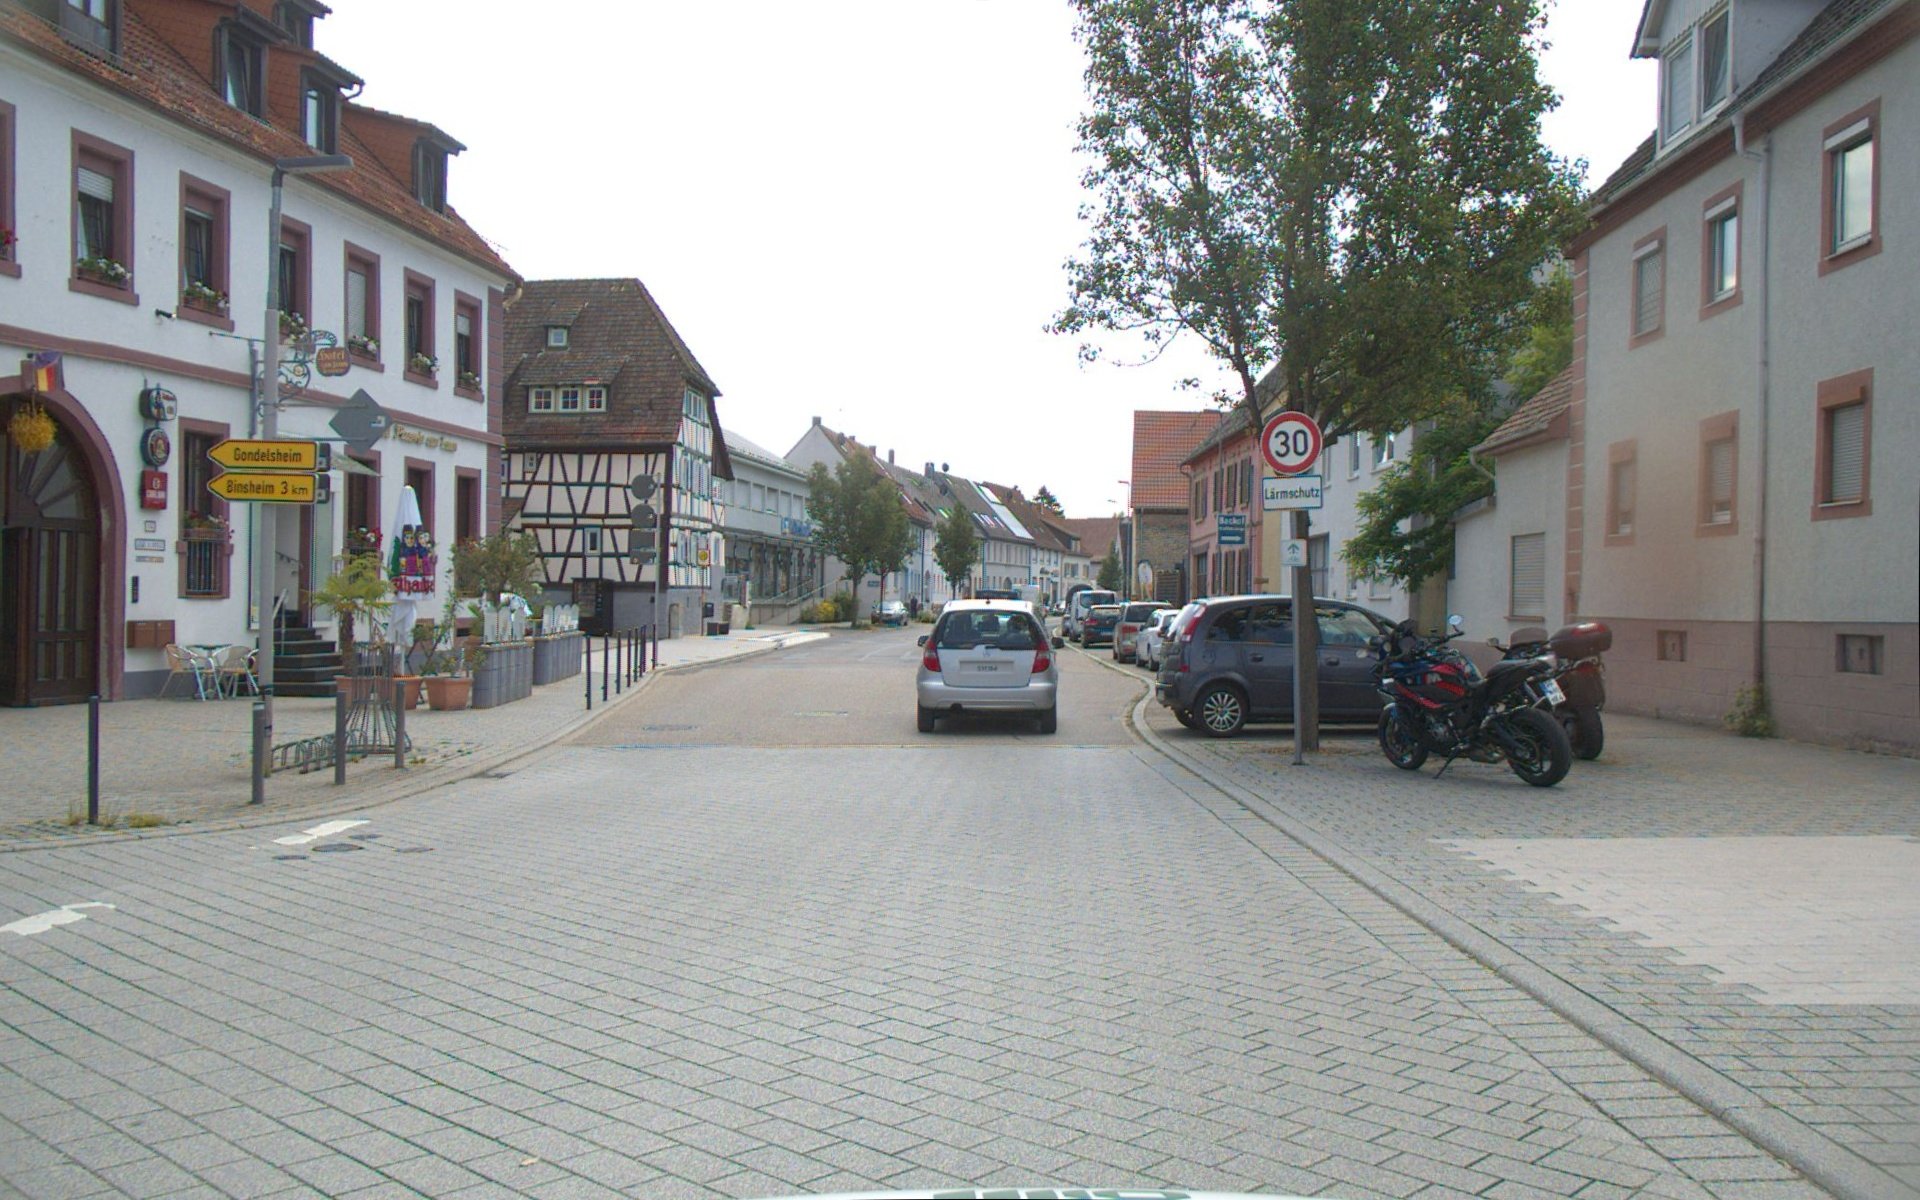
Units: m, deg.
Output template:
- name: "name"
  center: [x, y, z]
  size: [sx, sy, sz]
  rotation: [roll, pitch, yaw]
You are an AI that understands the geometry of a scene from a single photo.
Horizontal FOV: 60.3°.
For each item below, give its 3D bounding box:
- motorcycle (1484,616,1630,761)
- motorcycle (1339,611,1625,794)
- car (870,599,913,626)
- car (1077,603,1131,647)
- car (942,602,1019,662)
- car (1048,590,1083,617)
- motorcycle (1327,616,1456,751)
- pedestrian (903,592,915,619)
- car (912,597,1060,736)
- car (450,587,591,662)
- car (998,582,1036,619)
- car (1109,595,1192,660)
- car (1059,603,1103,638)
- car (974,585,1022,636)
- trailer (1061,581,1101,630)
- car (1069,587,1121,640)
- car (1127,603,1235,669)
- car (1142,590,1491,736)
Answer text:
- name: "motorcycle"
  center: [5.887, 0.834, 16.450]
  size: [0.939, 1.321, 2.227]
  rotation: [-1, 0, 9]
- name: "motorcycle"
  center: [4.404, 0.815, 14.083]
  size: [0.866, 1.419, 2.188]
  rotation: [1, 0, -45]
- name: "car"
  center: [-3.922, 0.699, 95.224]
  size: [1.766, 1.486, 4.161]
  rotation: [1, 0, 7]
- name: "car"
  center: [5.149, 0.862, 59.512]
  size: [1.738, 1.521, 4.163]
  rotation: [0, 0, 2]
- name: "car"
  center: [0.556, 0.804, 43.354]
  size: [1.905, 1.432, 4.001]
  rotation: [1, 0, 1]
- name: "car"
  center: [6.430, 0.216, 101.186]
  size: [1.952, 1.586, 4.001]
  rotation: [-1, 0, 1]
- name: "motorcycle"
  center: [4.487, 0.834, 17.353]
  size: [0.616, 1.321, 2.181]
  rotation: [0, -1, -4]
- name: "pedestrian"
  center: [-3.417, 0.364, 110.788]
  size: [0.723, 1.833, 0.643]
  rotation: [0, -1, 3]
- name: "car"
  center: [0.338, 0.798, 21.522]
  size: [1.732, 1.622, 4.000]
  rotation: [0, 0, 1]
- name: "car"
  center: [-10.076, 0.539, 38.245]
  size: [1.721, 1.518, 4.278]
  rotation: [4, 0, 4]
- name: "car"
  center: [3.601, 0.074, 103.335]
  size: [2.189, 2.261, 4.002]
  rotation: [0, -1, 5]
- name: "car"
  center: [5.246, 0.741, 46.111]
  size: [1.952, 1.710, 4.324]
  rotation: [0, 0, 2]
- name: "car"
  center: [5.627, 0.919, 77.124]
  size: [1.836, 1.507, 4.676]
  rotation: [1, 0, 2]
- name: "car"
  center: [1.600, 0.433, 68.086]
  size: [1.732, 1.920, 4.448]
  rotation: [3, 0, 3]
- name: "trailer"
  center: [5.970, 0.276, 82.193]
  size: [1.807, 2.395, 3.590]
  rotation: [0, 0, 1]
- name: "car"
  center: [5.459, 0.538, 67.464]
  size: [1.853, 2.017, 4.932]
  rotation: [-2, 0, 2]
- name: "car"
  center: [5.414, 0.850, 41.054]
  size: [1.953, 1.544, 4.369]
  rotation: [0, 0, -2]
- name: "car"
  center: [4.213, 0.726, 19.961]
  size: [3.770, 1.605, 1.850]
  rotation: [-1, 0, -2]
